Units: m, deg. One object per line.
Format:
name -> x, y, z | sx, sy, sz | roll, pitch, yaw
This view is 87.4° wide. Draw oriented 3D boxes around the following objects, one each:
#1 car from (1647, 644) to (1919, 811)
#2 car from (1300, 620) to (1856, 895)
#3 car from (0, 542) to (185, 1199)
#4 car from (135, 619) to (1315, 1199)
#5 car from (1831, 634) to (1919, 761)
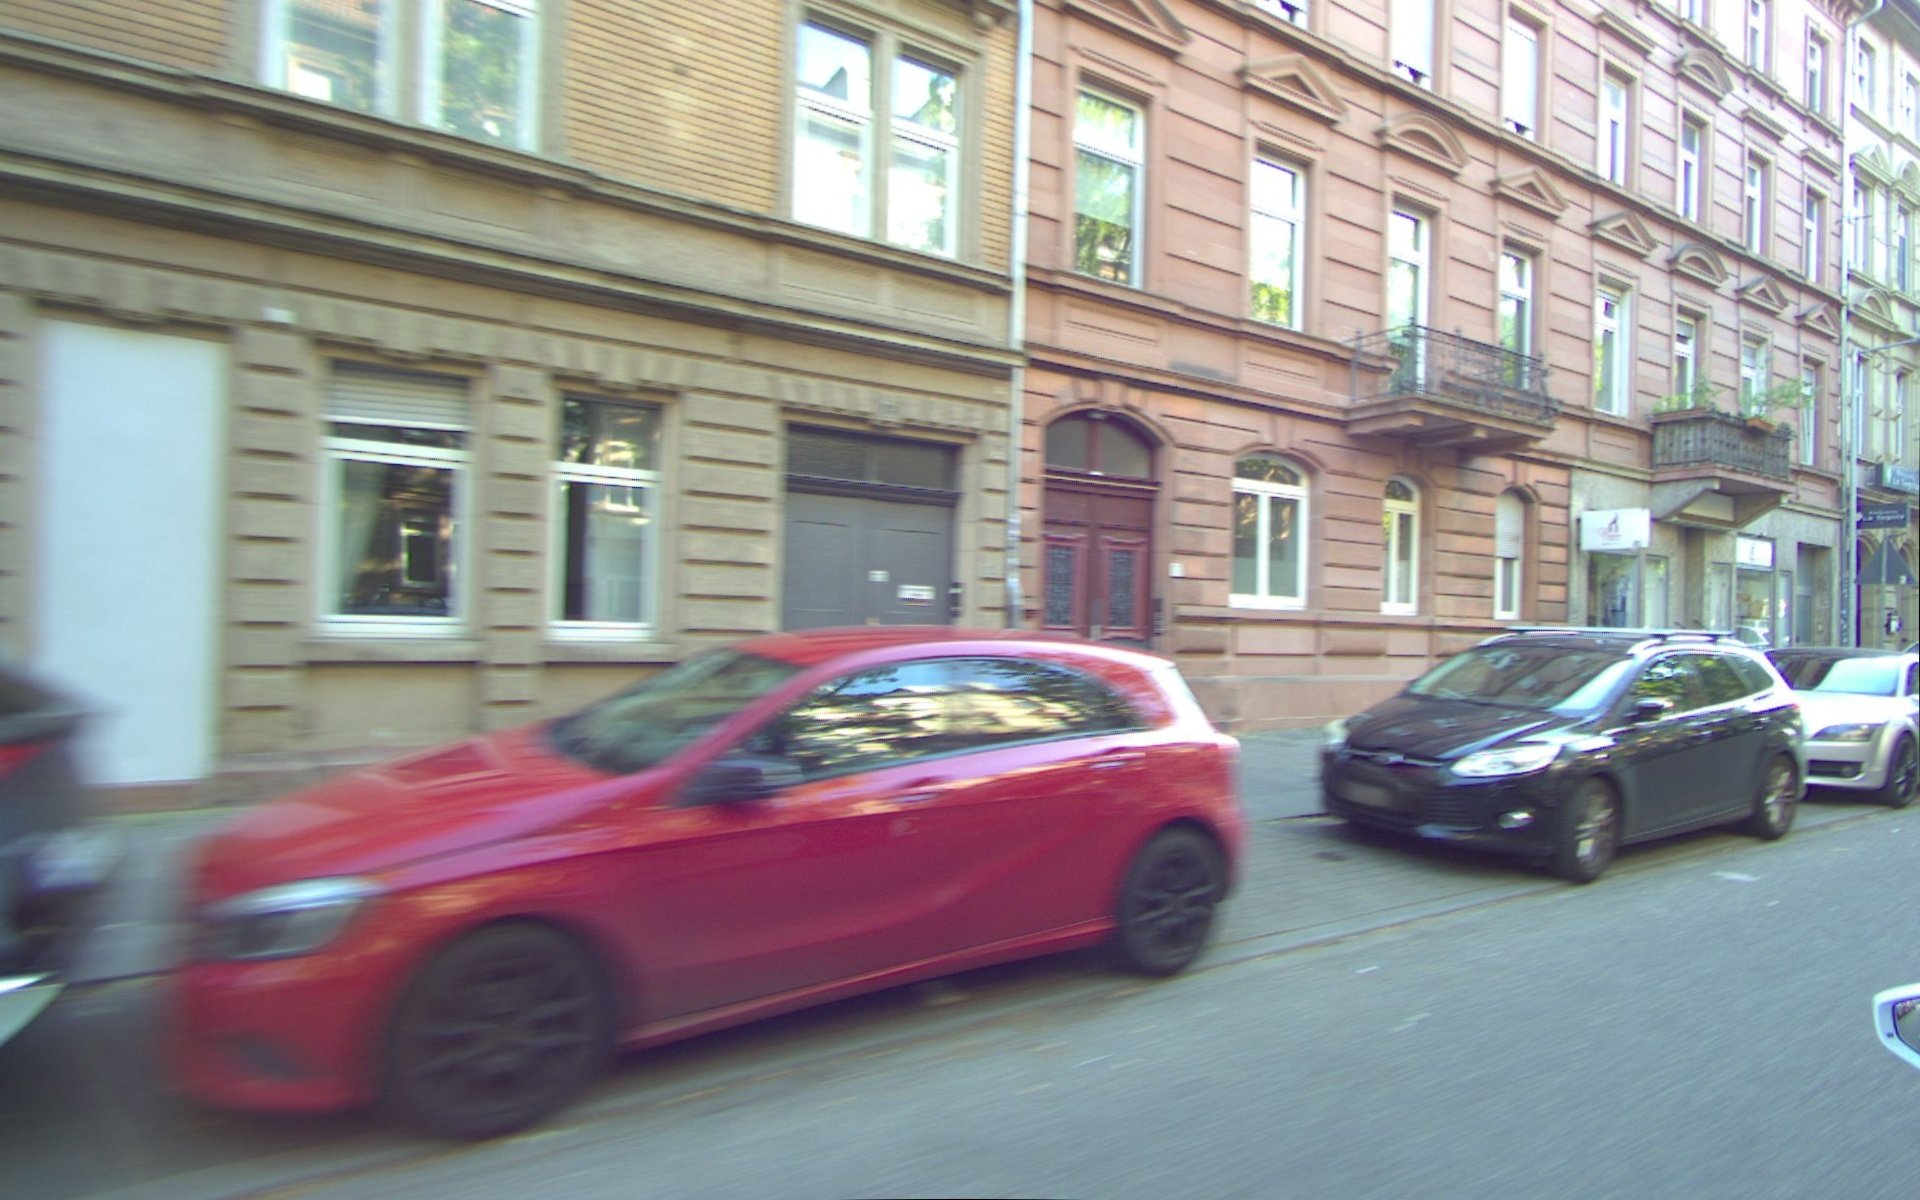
car -> 8.889, 1.139, 10.170 | 4.054, 1.340, 1.697 | 1, -1, -31
car -> 4.794, 0.954, 7.628 | 4.373, 1.497, 1.811 | 1, 0, -32
car -> -4.391, 0.622, 2.018 | 4.265, 1.621, 1.811 | 1, 0, -32
car -> -0.640, 0.856, 4.338 | 4.265, 1.445, 1.811 | 1, 0, -32
car -> 12.803, 1.172, 12.637 | 3.914, 1.458, 1.697 | 1, -1, -31
